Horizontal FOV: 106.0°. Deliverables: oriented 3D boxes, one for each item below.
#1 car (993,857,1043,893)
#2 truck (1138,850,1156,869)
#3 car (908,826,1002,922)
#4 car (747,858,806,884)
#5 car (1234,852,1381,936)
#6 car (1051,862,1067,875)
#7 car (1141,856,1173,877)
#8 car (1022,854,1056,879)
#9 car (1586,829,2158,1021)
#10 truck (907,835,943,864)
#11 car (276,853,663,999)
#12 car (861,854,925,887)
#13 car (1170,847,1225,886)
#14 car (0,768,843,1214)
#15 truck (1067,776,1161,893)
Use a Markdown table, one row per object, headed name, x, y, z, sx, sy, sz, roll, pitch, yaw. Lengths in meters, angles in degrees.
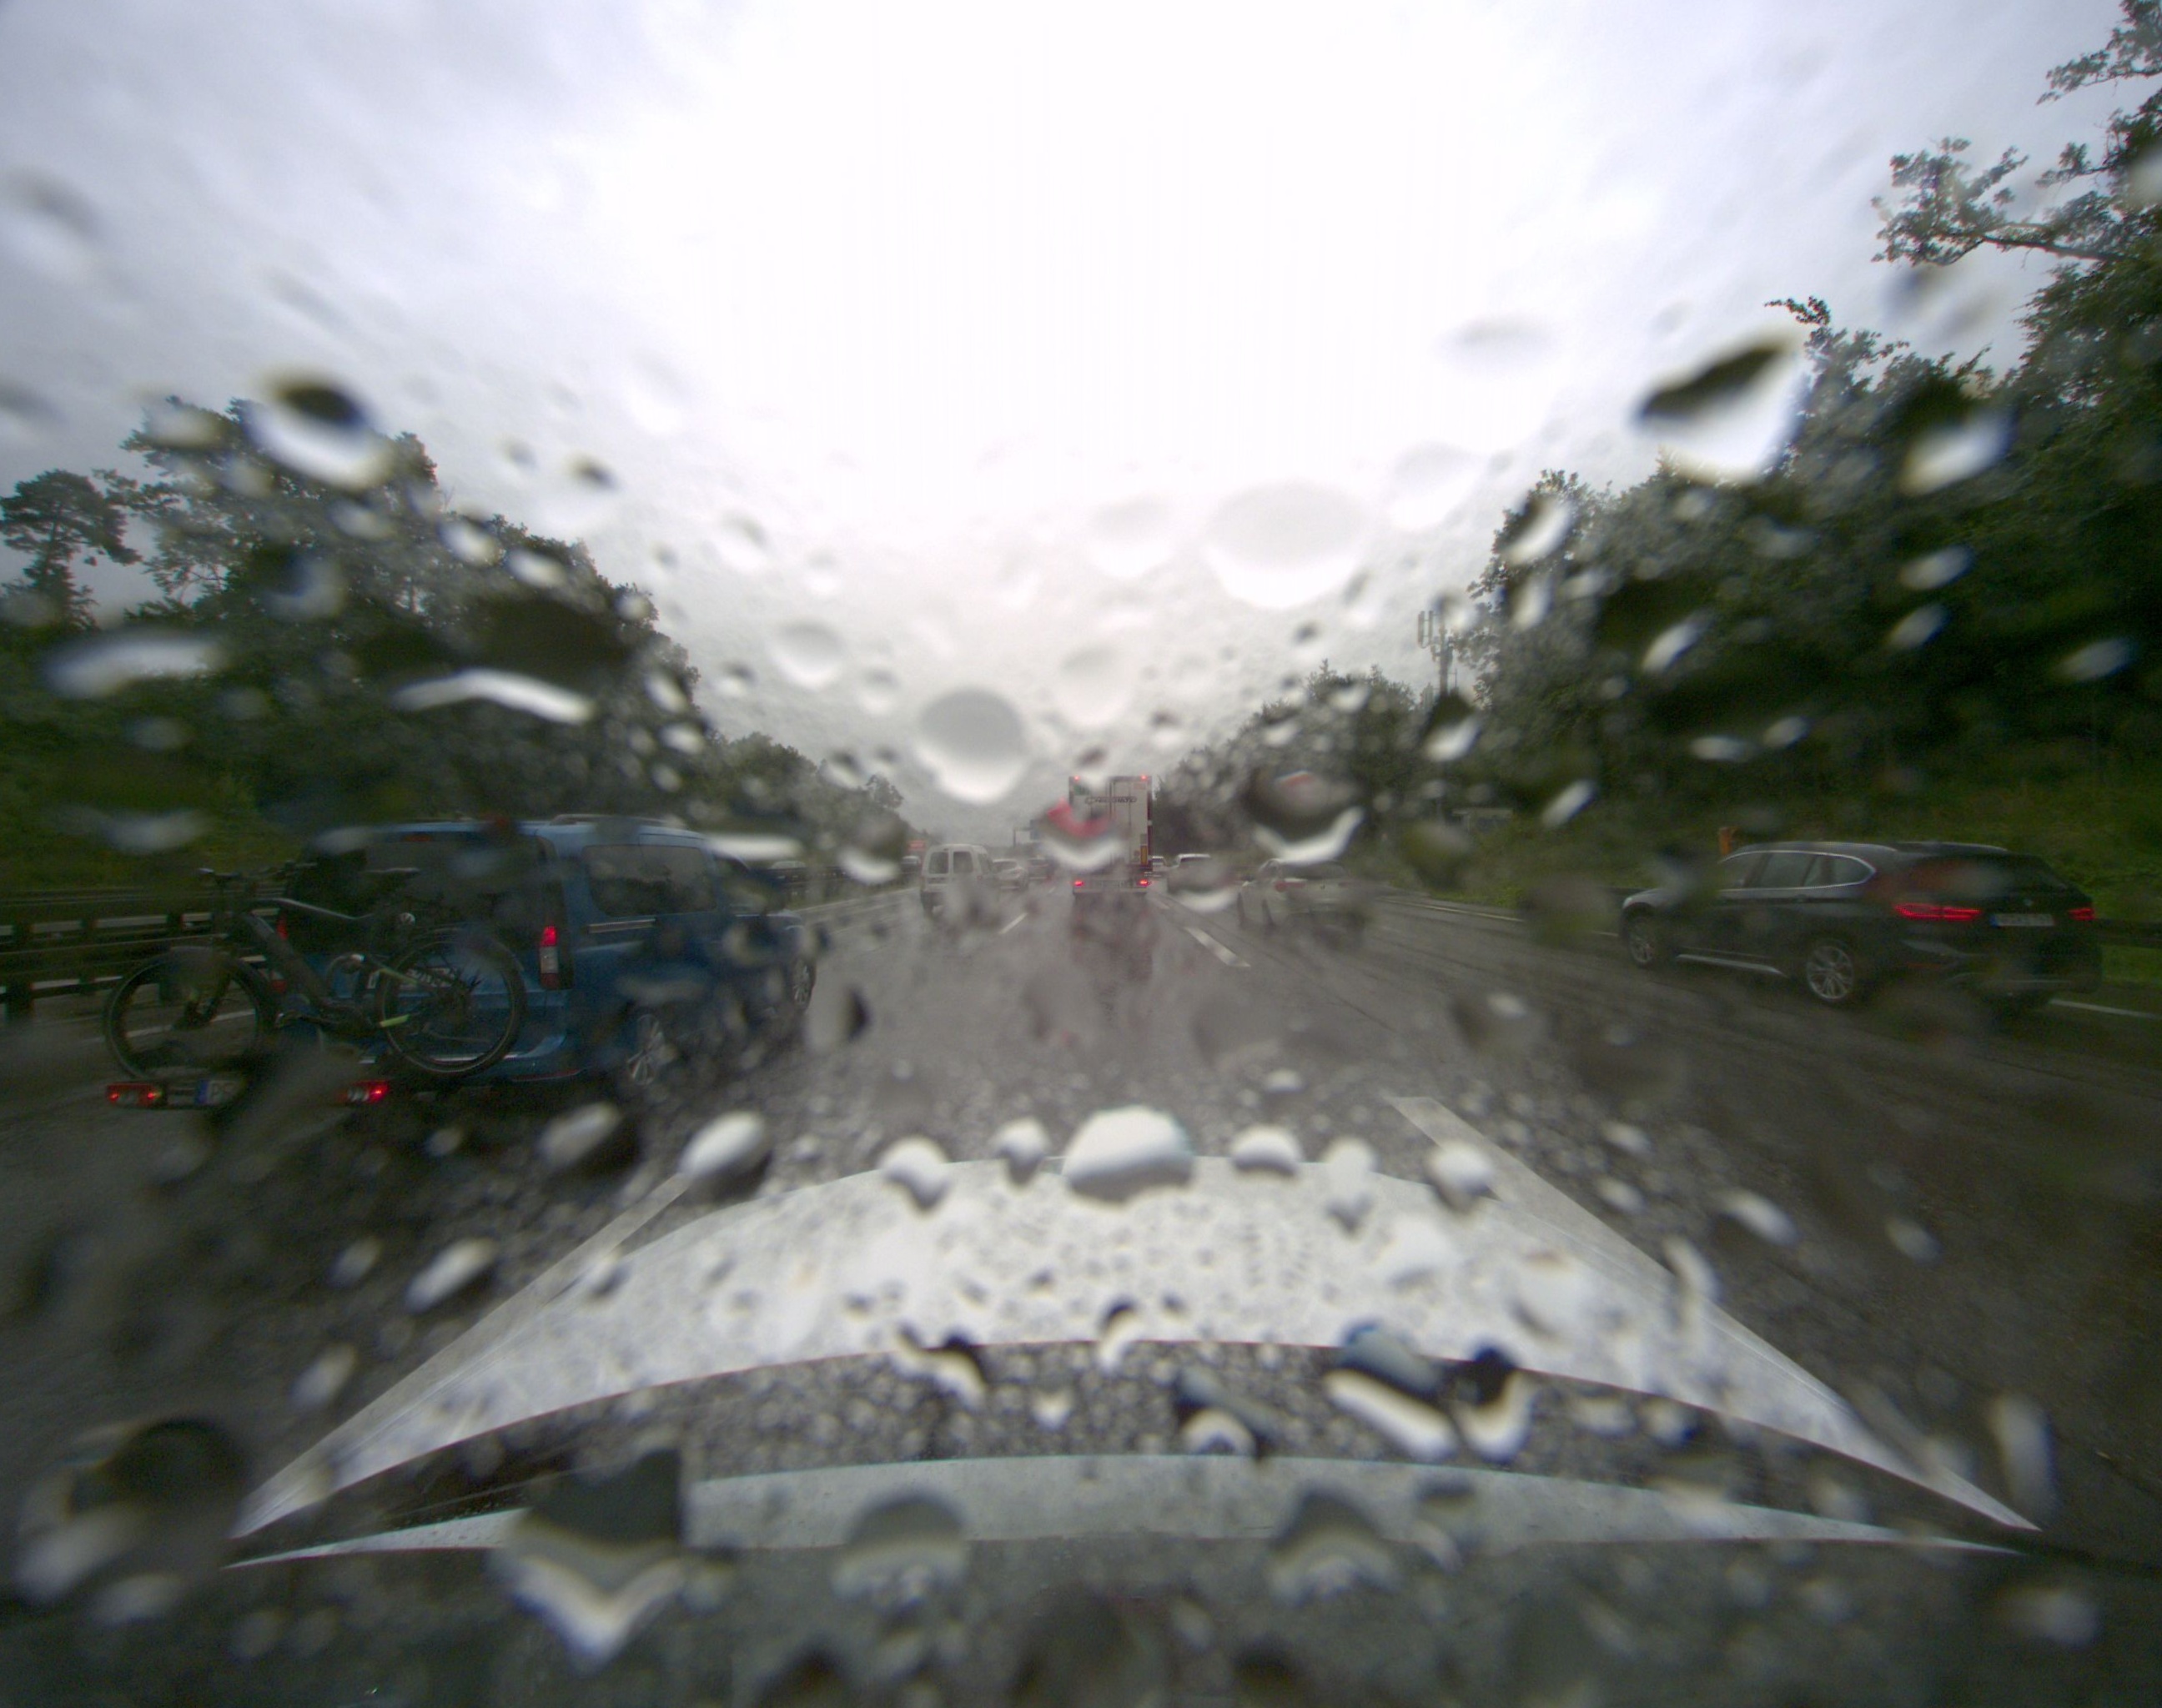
| name | x | y | z | sx | sy | sz | roll | pitch | yaw |
| --- | --- | --- | --- | --- | --- | --- | --- | --- | --- |
| car | -2.934 | 0.944 | 38.772 | 1.838 | 1.591 | 4.074 | -1 | 0 | 2 |
| truck | 10.450 | 0.896 | 128.855 | 2.579 | 2.941 | 6.460 | -1 | 0 | 2 |
| car | -3.623 | 0.529 | 24.374 | 2.207 | 2.573 | 5.011 | -1 | 0 | -2 |
| car | -18.843 | 1.001 | 50.600 | 1.829 | 1.497 | 4.609 | -1 | 0 | 1 |
| car | 4.345 | 0.687 | 16.354 | 1.882 | 1.425 | 4.485 | -1 | 0 | 2 |
| car | -2.463 | 1.612 | 92.509 | 1.840 | 1.330 | 4.464 | -1 | 0 | -1 |
| car | 5.380 | 0.894 | 58.353 | 1.999 | 1.394 | 4.569 | -1 | 0 | 1 |
| car | -2.804 | 0.816 | 54.690 | 1.838 | 1.591 | 4.469 | -1 | 0 | 2 |
| car | 8.048 | 0.590 | 9.163 | 1.981 | 1.583 | 4.771 | -1 | 0 | 3 |
| truck | -22.452 | -0.637 | 117.537 | 2.693 | 3.931 | 10.035 | -1 | 0 | 3 |
| car | -7.958 | 0.801 | 11.288 | 1.838 | 1.591 | 4.469 | -1 | 0 | 2 |
| car | -9.791 | 0.805 | 42.818 | 2.083 | 1.504 | 4.756 | 3 | 0 | 2 |
| car | 4.768 | 0.479 | 33.836 | 1.838 | 1.522 | 4.346 | -1 | 0 | 3 |
| car | -3.768 | 0.590 | 6.047 | 2.260 | 1.912 | 5.020 | -1 | 0 | 3 |
| truck | 1.163 | -0.554 | 30.755 | 2.862 | 3.562 | 11.305 | -1 | -1 | 2 |
